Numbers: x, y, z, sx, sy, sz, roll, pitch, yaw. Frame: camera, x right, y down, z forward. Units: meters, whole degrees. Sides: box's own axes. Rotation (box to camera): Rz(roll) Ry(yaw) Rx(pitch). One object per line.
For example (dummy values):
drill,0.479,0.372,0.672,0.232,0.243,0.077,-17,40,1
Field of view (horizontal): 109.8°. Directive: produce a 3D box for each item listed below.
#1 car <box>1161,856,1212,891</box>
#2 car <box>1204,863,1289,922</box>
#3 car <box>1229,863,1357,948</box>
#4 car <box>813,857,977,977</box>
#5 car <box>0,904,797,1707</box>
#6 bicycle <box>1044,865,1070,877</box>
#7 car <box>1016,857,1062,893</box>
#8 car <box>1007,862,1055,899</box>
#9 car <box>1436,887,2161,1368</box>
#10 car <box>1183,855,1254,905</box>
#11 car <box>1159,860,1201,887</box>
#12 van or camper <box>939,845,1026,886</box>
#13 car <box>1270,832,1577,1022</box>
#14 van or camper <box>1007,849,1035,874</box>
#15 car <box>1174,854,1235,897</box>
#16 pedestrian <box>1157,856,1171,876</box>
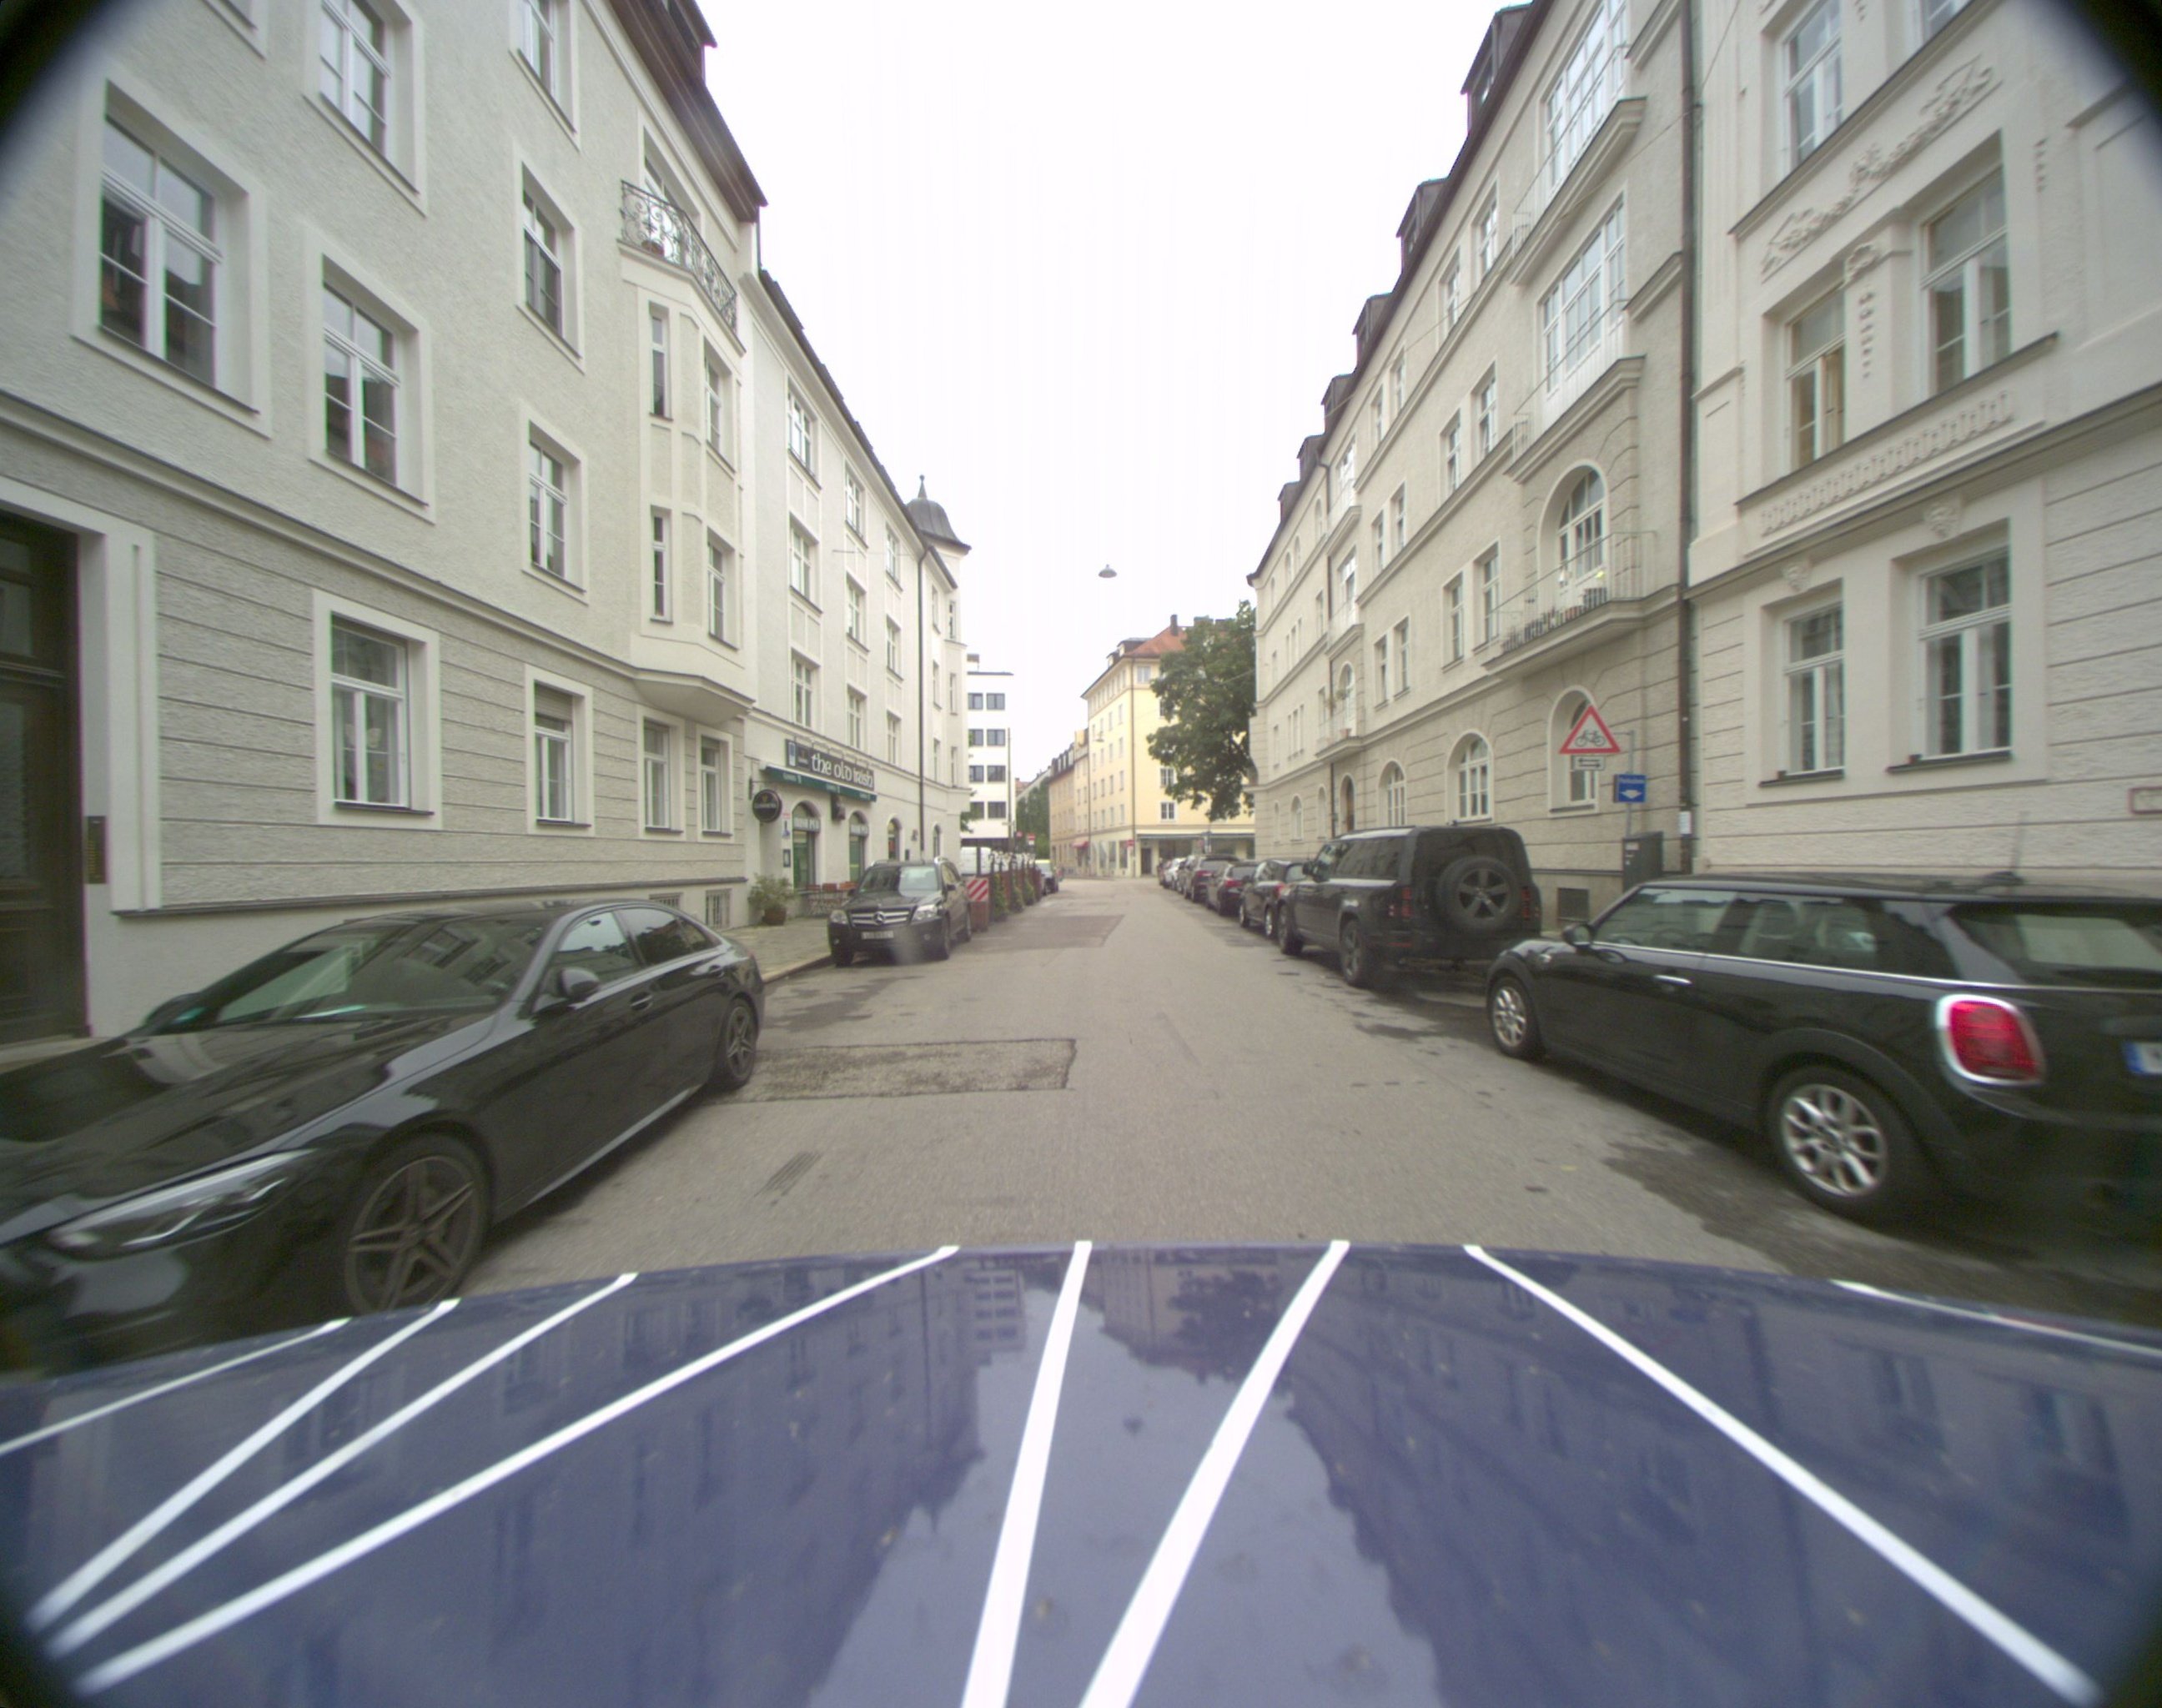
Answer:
car,5.074,0.920,37.046,1.699,1.559,3.950,-1,1,-3
car,4.477,0.994,21.142,1.658,1.398,4.092,0,0,3
car,4.200,0.967,15.578,1.620,1.504,3.531,0,0,0
car,-3.037,0.941,13.324,1.805,1.665,4.189,-3,0,-1
car,-3.231,1.140,3.975,1.841,1.391,4.972,-3,0,-4
bicycle,-1.969,1.384,61.540,1.995,0.958,0.973,-1,0,-11
car,-2.002,0.994,37.551,1.841,1.609,4.095,-4,0,2
car,-2.139,1.112,33.220,1.670,1.392,3.493,-4,0,2
car,4.032,0.986,4.565,1.841,1.386,4.245,1,0,1
car,4.732,0.858,26.794,1.880,1.590,4.434,-1,0,3
car,5.387,1.045,41.842,1.685,1.385,4.479,0,0,-1
van or camper,-6.907,0.815,53.462,5.870,2.697,2.304,-1,-2,-7
car,4.040,0.753,10.019,1.841,1.883,4.763,1,0,0
van or camper,-6.521,0.792,81.728,1.968,2.494,5.716,-1,0,-14
car,5.158,0.867,32.289,1.841,1.668,4.213,-1,0,0
pedestrian,6.908,1.014,63.154,0.920,1.601,0.777,-1,0,31
